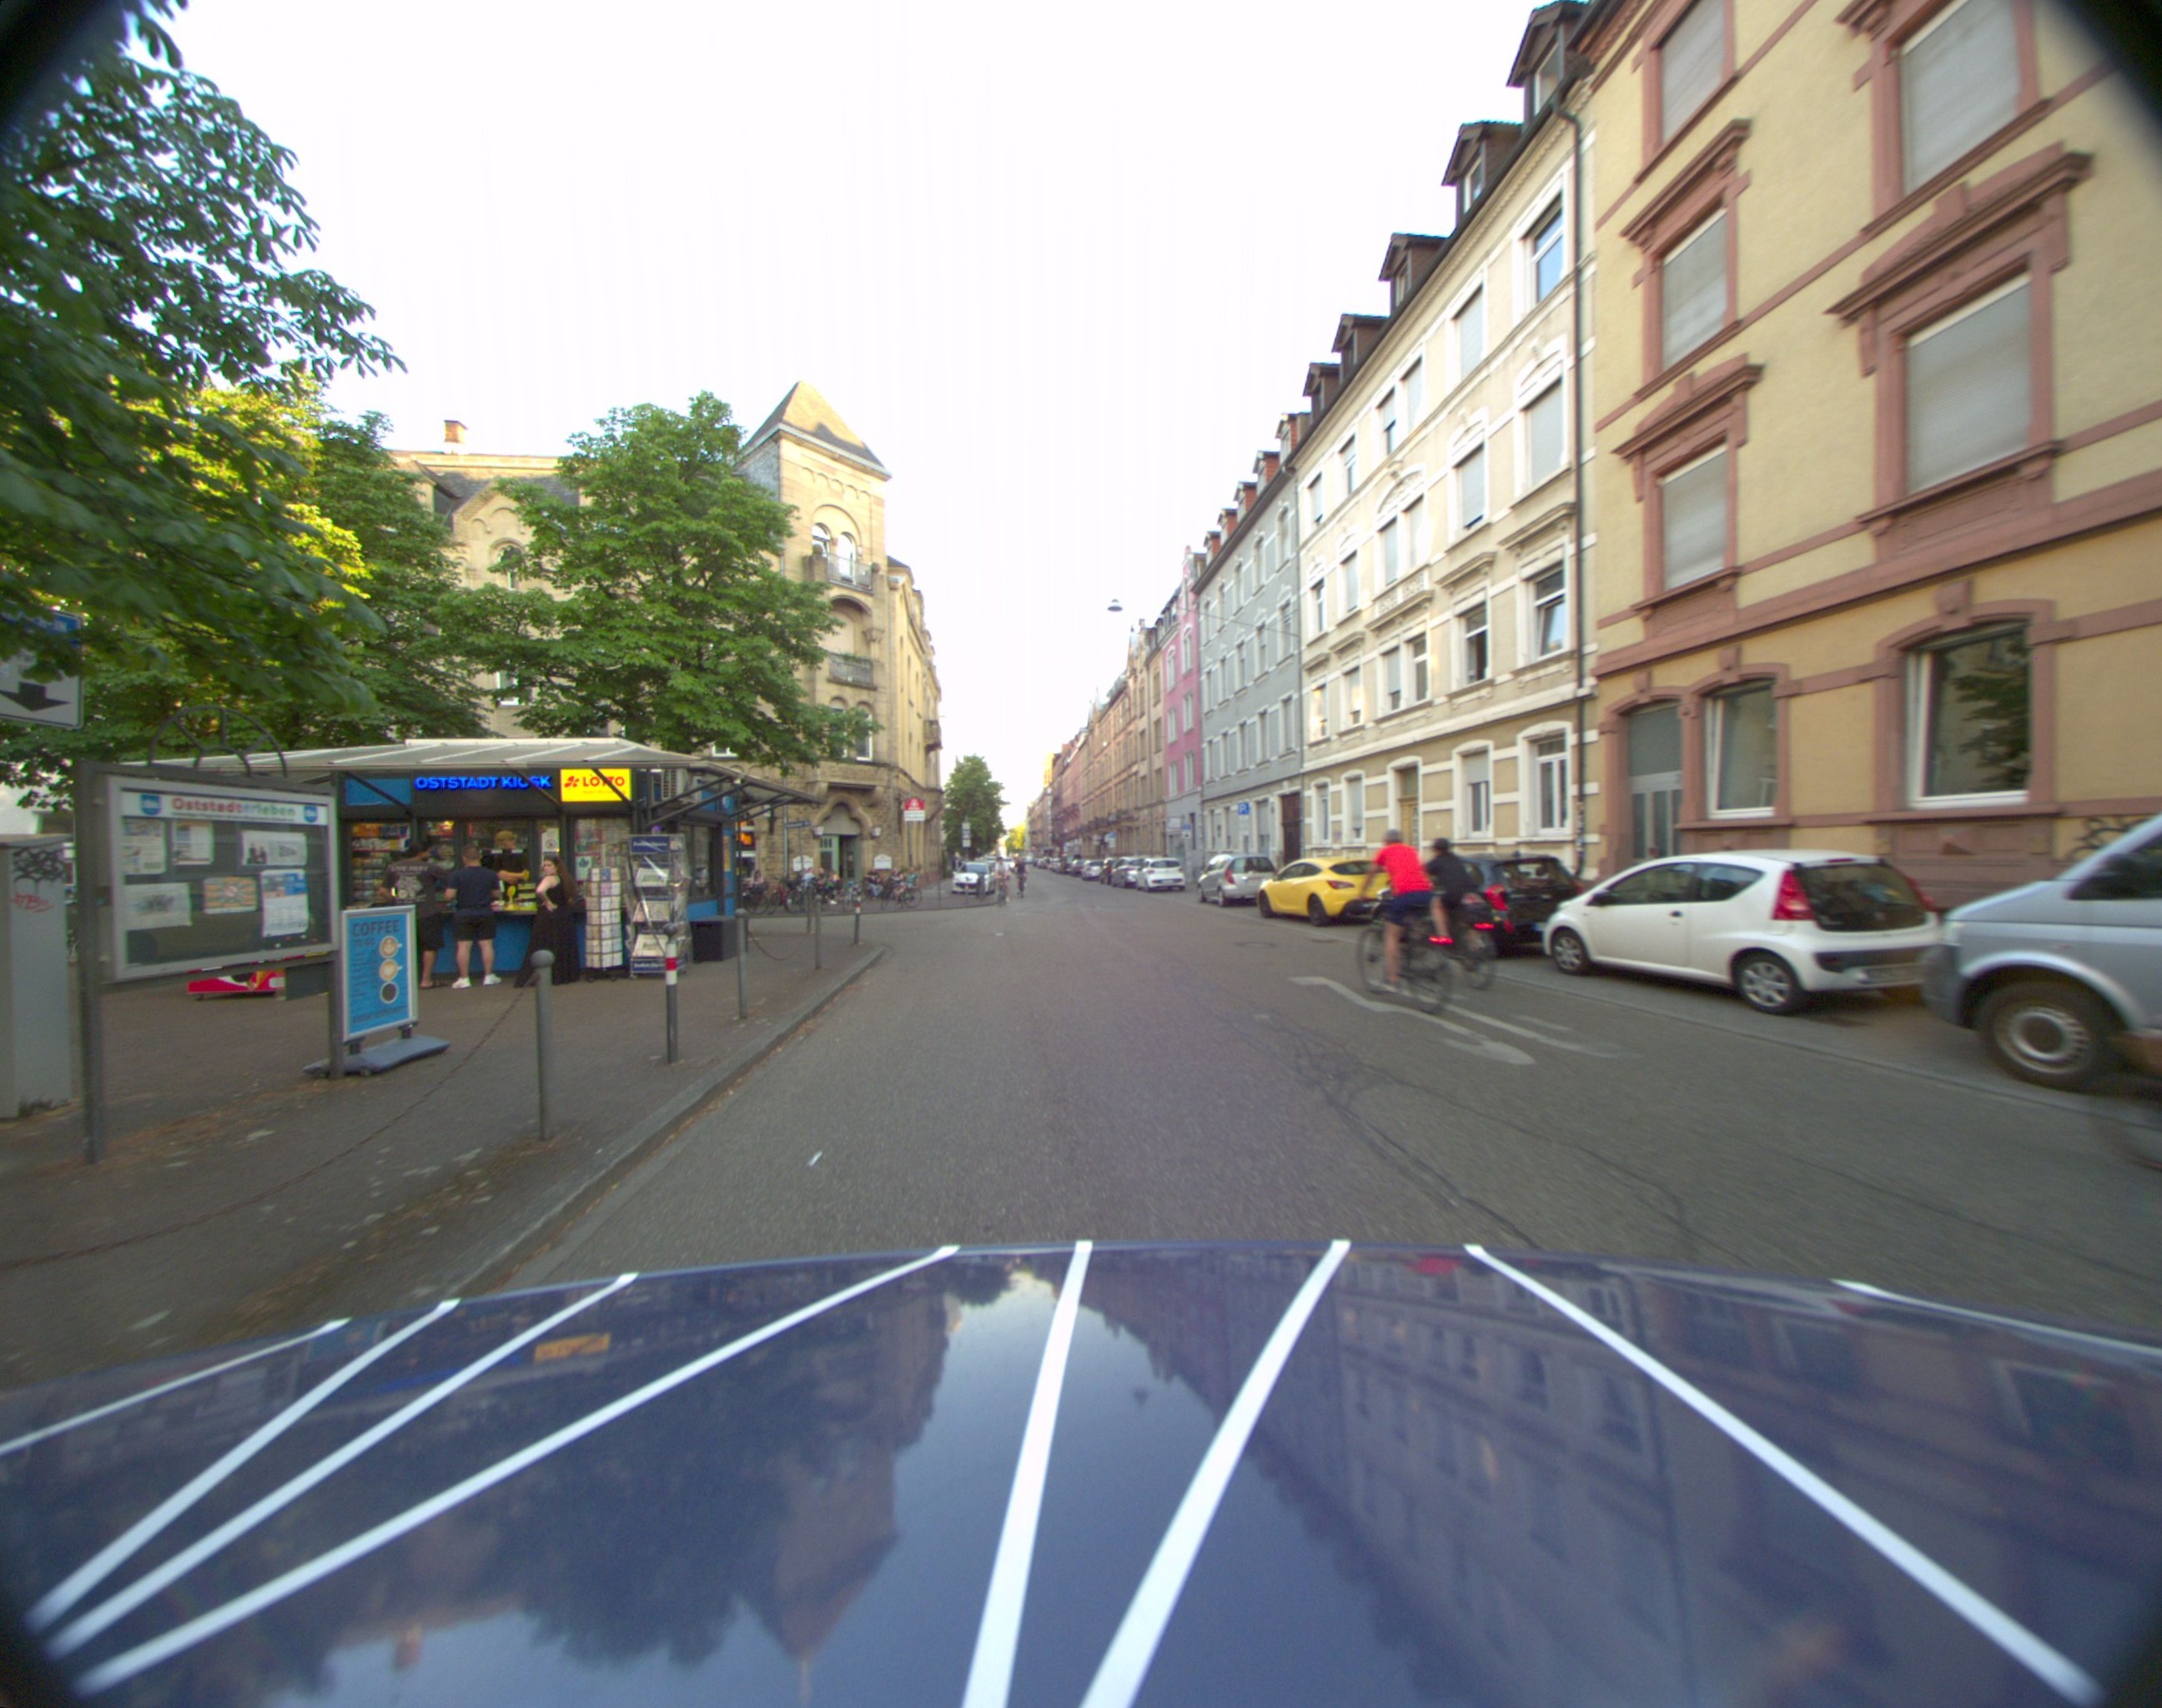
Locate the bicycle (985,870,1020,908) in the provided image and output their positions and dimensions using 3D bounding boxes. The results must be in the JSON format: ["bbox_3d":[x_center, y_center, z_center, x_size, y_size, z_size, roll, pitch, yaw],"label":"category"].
[{"bbox_3d":[-2.633,1.156,25.582,0.685,1.144,2.116,-1,0,7],"label":"bicycle"}]

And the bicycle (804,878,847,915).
[{"bbox_3d":[-8.061,1.324,24.069,0.513,1.060,1.835,-1,0,7],"label":"bicycle"}]

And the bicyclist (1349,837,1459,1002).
[{"bbox_3d":[3.151,0.603,7.480,0.654,1.517,0.867,-1,1,-4],"label":"bicyclist"}]

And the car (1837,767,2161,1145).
[{"bbox_3d":[6.912,0.506,3.264,2.047,2.045,5.002,-3,0,-5],"label":"car"}]

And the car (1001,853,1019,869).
[{"bbox_3d":[-8.620,0.807,91.849,1.958,1.729,4.282,-3,0,-6],"label":"car"}]

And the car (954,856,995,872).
[{"bbox_3d":[-11.574,1.077,82.456,4.303,1.666,1.822,-1,0,-6],"label":"car"}]

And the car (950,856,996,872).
[{"bbox_3d":[-10.598,0.985,74.784,4.303,1.519,1.822,-1,0,-6],"label":"car"}]

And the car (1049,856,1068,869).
[{"bbox_3d":[-2.810,1.024,95.393,1.758,1.426,4.054,-7,0,-9],"label":"car"}]

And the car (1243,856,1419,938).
[{"bbox_3d":[5.464,0.856,17.416,1.844,1.517,4.798,-3,0,-8],"label":"car"}]

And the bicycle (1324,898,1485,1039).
[{"bbox_3d":[3.152,1.056,7.640,0.651,1.101,2.014,-1,0,-3],"label":"bicycle"}]

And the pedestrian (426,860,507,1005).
[{"bbox_3d":[-7.312,0.897,9.069,0.679,1.628,0.589,-2,1,-36],"label":"pedestrian"}]

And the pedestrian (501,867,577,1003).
[{"bbox_3d":[-6.447,0.928,9.053,0.679,1.530,0.589,-2,1,-36],"label":"pedestrian"}]

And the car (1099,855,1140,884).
[{"bbox_3d":[2.276,0.896,45.818,1.758,1.583,4.055,-3,0,-6],"label":"car"}]

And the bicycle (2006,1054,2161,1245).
[{"bbox_3d":[4.804,1.298,2.957,0.651,0.639,1.464,-1,0,2],"label":"bicycle"}]

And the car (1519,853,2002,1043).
[{"bbox_3d":[6.746,0.776,8.140,1.689,1.483,3.611,-3,0,-6],"label":"car"}]

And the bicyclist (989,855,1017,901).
[{"bbox_3d":[-2.628,0.787,25.661,0.685,1.503,0.973,-1,0,7],"label":"bicyclist"}]

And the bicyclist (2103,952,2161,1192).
[{"bbox_3d":[4.801,0.915,2.963,0.648,0.971,0.730,-1,1,2],"label":"bicyclist"}]

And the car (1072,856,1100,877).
[{"bbox_3d":[0.358,1.039,64.203,1.758,1.466,4.277,-7,0,-6],"label":"car"}]

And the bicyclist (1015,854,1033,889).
[{"bbox_3d":[-2.481,0.759,32.990,0.686,1.503,0.972,-1,0,-6],"label":"bicyclist"}]

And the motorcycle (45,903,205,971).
[{"bbox_3d":[-16.351,1.410,13.028,1.832,1.048,0.579,-1,1,-5],"label":"motorcycle"}]

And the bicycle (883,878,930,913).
[{"bbox_3d":[-5.698,1.347,24.813,0.431,1.033,1.478,0,1,43],"label":"bicycle"}]

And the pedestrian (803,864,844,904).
[{"bbox_3d":[-9.491,1.094,27.976,0.839,1.389,1.106,0,2,35],"label":"pedestrian"}]

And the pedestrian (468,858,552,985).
[{"bbox_3d":[-7.630,0.875,10.180,0.678,1.628,0.590,-1,1,-14],"label":"pedestrian"}]

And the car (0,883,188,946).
[{"bbox_3d":[-28.380,1.689,21.396,3.907,1.475,1.825,-3,0,-9],"label":"car"}]

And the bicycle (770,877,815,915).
[{"bbox_3d":[-9.094,1.303,24.008,0.502,1.105,1.835,-1,0,7],"label":"bicycle"}]

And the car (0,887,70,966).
[{"bbox_3d":[-22.824,1.510,14.616,3.906,1.475,1.825,-3,0,-6],"label":"car"}]

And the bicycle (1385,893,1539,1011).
[{"bbox_3d":[4.334,1.062,8.839,0.723,1.101,2.014,-1,0,-2],"label":"bicycle"}]

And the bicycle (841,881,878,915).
[{"bbox_3d":[-6.991,1.374,24.070,0.447,0.974,1.706,-1,0,7],"label":"bicycle"}]

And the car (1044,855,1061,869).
[{"bbox_3d":[-3.932,1.079,105.641,1.758,1.663,4.054,-7,0,-9],"label":"car"}]

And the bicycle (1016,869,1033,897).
[{"bbox_3d":[-2.457,1.227,32.796,0.686,1.144,2.114,-1,0,-5],"label":"bicycle"}]

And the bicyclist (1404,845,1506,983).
[{"bbox_3d":[4.324,0.665,8.837,0.715,1.517,0.867,-1,1,-2],"label":"bicyclist"}]

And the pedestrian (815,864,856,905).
[{"bbox_3d":[-8.912,1.093,27.599,0.839,1.389,1.106,0,2,35],"label":"pedestrian"}]

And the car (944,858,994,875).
[{"bbox_3d":[-10.072,1.139,68.610,4.303,1.443,1.822,-1,0,-6],"label":"car"}]

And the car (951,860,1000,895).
[{"bbox_3d":[-4.931,1.060,35.923,1.768,1.476,4.463,2,0,-2],"label":"car"}]

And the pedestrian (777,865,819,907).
[{"bbox_3d":[-10.126,1.129,27.227,0.839,1.389,1.106,0,2,35],"label":"pedestrian"}]

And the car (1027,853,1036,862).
[{"bbox_3d":[-12.276,0.865,188.700,1.758,2.264,4.055,-7,1,-5],"label":"car"}]

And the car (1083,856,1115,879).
[{"bbox_3d":[1.240,0.956,55.176,1.758,1.466,4.055,-7,0,-5],"label":"car"}]

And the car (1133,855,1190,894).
[{"bbox_3d":[3.579,0.883,34.518,1.758,1.567,3.925,-3,0,-5],"label":"car"}]

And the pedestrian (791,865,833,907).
[{"bbox_3d":[-9.489,1.126,26.826,0.839,1.389,1.106,0,2,35],"label":"pedestrian"}]

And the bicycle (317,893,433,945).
[{"bbox_3d":[-14.579,1.329,15.720,1.739,0.990,0.579,-1,1,-5],"label":"bicycle"}]

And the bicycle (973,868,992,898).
[{"bbox_3d":[-4.067,1.195,31.501,0.686,1.144,2.114,2,0,-5],"label":"bicycle"}]

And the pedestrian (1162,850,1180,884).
[{"bbox_3d":[5.162,0.732,43.579,0.852,1.937,0.833,-1,0,-2],"label":"pedestrian"}]

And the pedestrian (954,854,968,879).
[{"bbox_3d":[-8.441,0.882,53.362,0.852,1.756,0.833,0,0,-2],"label":"pedestrian"}]

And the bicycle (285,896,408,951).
[{"bbox_3d":[-14.449,1.361,14.968,1.739,0.990,0.579,-1,1,-5],"label":"bicycle"}]

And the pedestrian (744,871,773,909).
[{"bbox_3d":[-11.268,1.241,26.567,0.706,1.275,0.877,-1,0,-10],"label":"pedestrian"}]

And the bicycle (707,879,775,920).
[{"bbox_3d":[-10.321,1.383,23.111,1.836,1.144,0.557,-1,1,-20],"label":"bicycle"}]

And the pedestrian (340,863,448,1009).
[{"bbox_3d":[-7.978,0.925,8.855,0.678,1.628,0.590,-1,1,-7],"label":"pedestrian"}]

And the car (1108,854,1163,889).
[{"bbox_3d":[2.780,0.881,39.621,1.838,1.583,4.669,-3,0,-8],"label":"car"}]

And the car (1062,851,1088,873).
[{"bbox_3d":[-0.610,0.775,73.708,1.875,1.949,4.290,-4,0,-7],"label":"car"}]

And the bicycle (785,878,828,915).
[{"bbox_3d":[-8.584,1.308,23.818,0.475,1.064,1.835,-1,0,7],"label":"bicycle"}]

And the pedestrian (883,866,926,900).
[{"bbox_3d":[-6.906,1.129,29.731,0.839,1.278,1.422,1,1,42],"label":"pedestrian"}]

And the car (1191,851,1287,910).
[{"bbox_3d":[4.832,0.758,23.831,1.805,1.583,4.143,-3,0,-4],"label":"car"}]

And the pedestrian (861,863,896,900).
[{"bbox_3d":[-7.872,1.072,29.569,1.009,1.388,0.899,-1,-1,42],"label":"pedestrian"}]

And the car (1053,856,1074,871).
[{"bbox_3d":[-2.045,1.029,86.377,1.758,1.466,4.054,-7,0,-9],"label":"car"}]

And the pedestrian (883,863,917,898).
[{"bbox_3d":[-7.236,1.056,30.431,0.840,1.388,1.105,1,0,17],"label":"pedestrian"}]

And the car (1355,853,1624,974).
[{"bbox_3d":[6.077,0.783,11.857,1.734,1.483,3.739,-3,0,-10],"label":"car"}]

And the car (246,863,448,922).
[{"bbox_3d":[-21.500,1.099,22.415,3.906,1.475,1.825,-3,0,-7],"label":"car"}]
